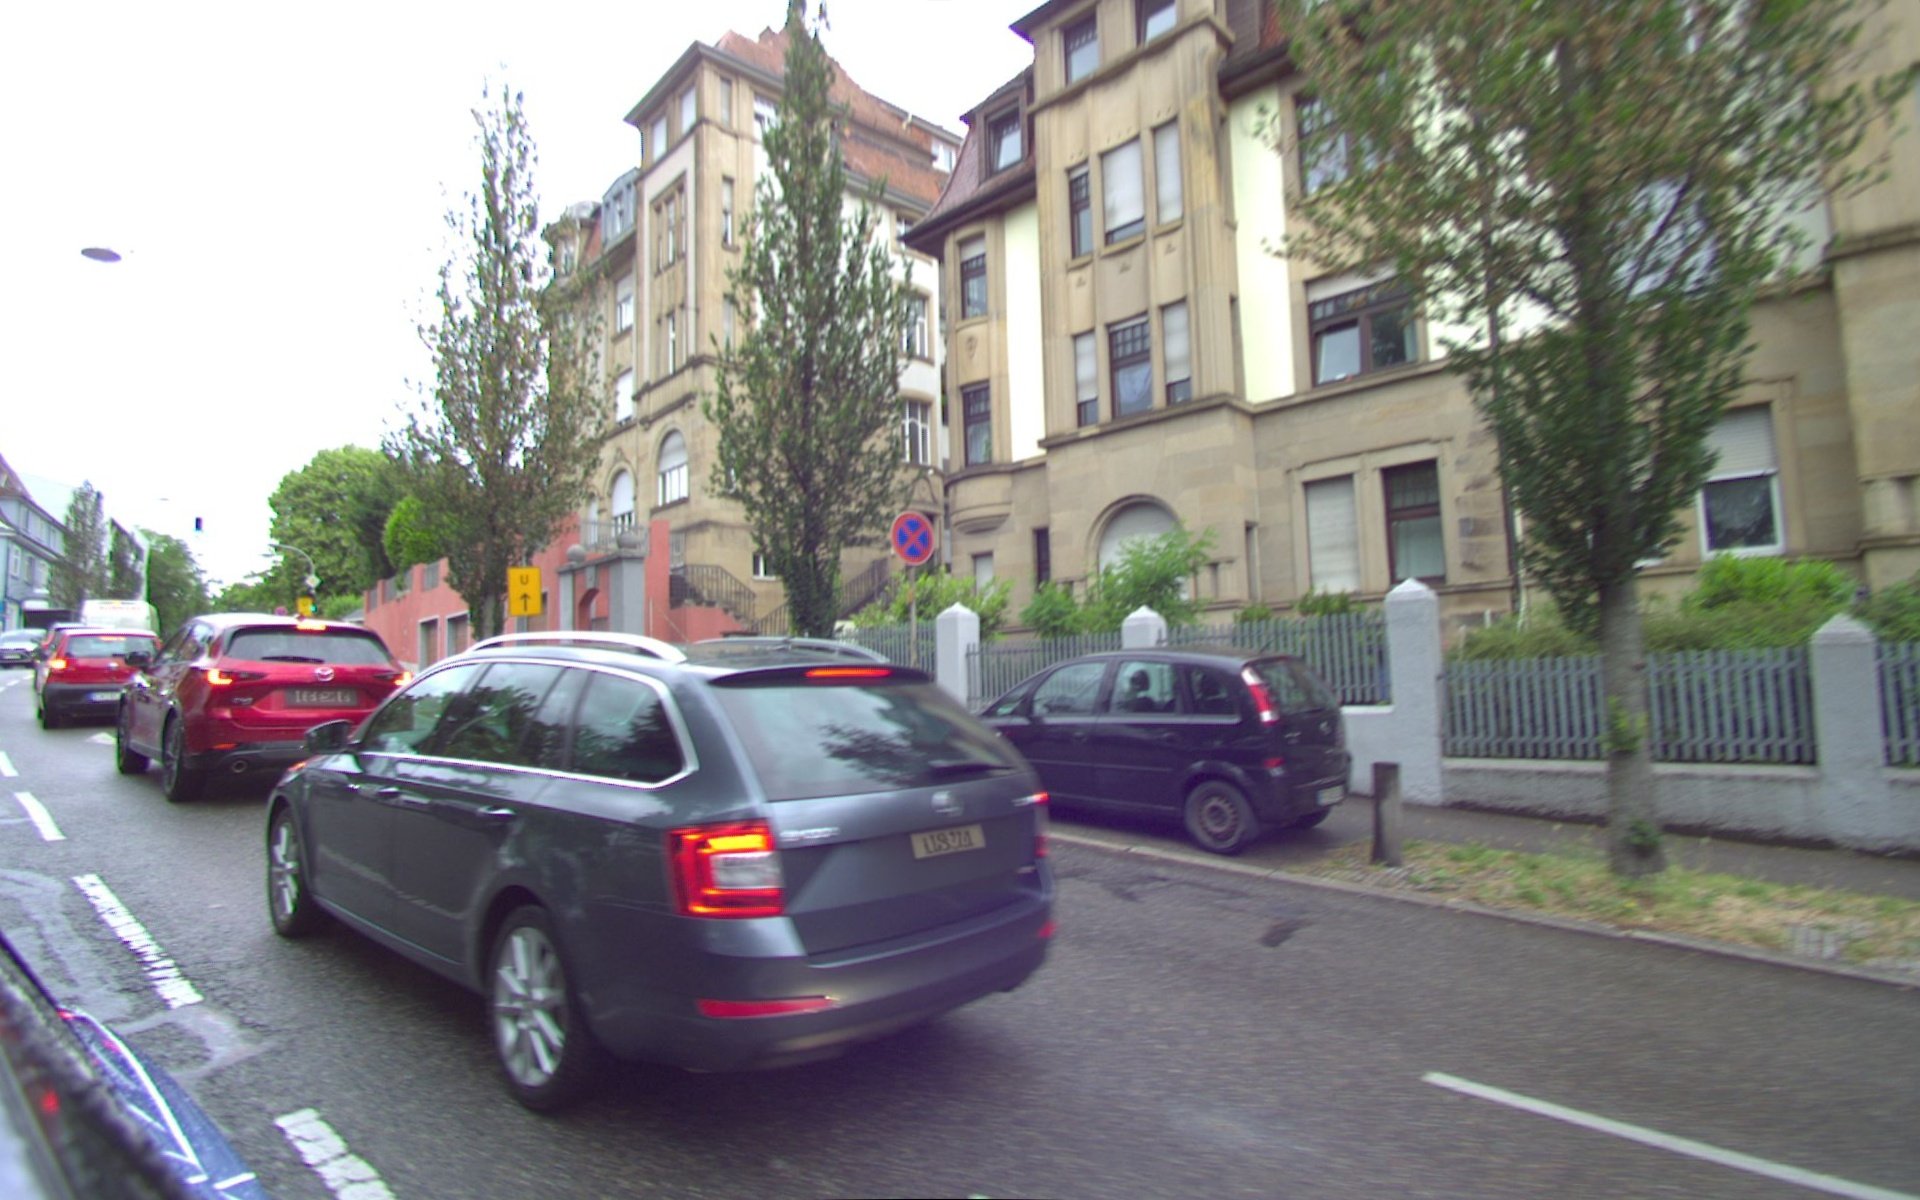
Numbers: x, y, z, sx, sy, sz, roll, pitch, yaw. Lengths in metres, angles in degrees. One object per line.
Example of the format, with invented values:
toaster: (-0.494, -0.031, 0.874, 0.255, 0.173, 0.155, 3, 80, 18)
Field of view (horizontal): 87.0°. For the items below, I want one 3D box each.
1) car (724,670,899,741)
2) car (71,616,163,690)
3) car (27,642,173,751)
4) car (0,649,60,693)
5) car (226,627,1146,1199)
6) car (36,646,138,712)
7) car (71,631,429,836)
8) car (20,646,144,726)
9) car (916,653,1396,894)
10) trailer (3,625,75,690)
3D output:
car: (-3.220, 2.282, 22.395, 1.789, 1.410, 3.513, -3, -6, 42)
car: (-31.432, 1.983, 37.892, 2.089, 2.565, 5.553, 3, -4, -35)
car: (-14.277, 1.485, 16.729, 1.635, 1.580, 4.004, 3, -4, -43)
car: (-37.651, 2.822, 40.598, 1.708, 1.632, 3.485, 1, -2, -32)
car: (-1.511, 0.908, 4.274, 4.281, 1.485, 1.719, -2, -5, 43)
car: (-23.006, 2.008, 26.633, 1.852, 1.587, 4.591, 3, -4, -42)
car: (-7.159, 1.185, 10.041, 4.276, 1.596, 1.826, -2, -6, 41)
car: (-19.031, 1.814, 21.887, 1.753, 1.508, 4.267, 8, -7, -42)
car: (1.630, 1.354, 9.305, 4.000, 1.625, 1.795, -1, -2, 43)
trailer: (-39.393, 2.422, 43.359, 1.742, 2.645, 3.041, 0, -2, -33)
